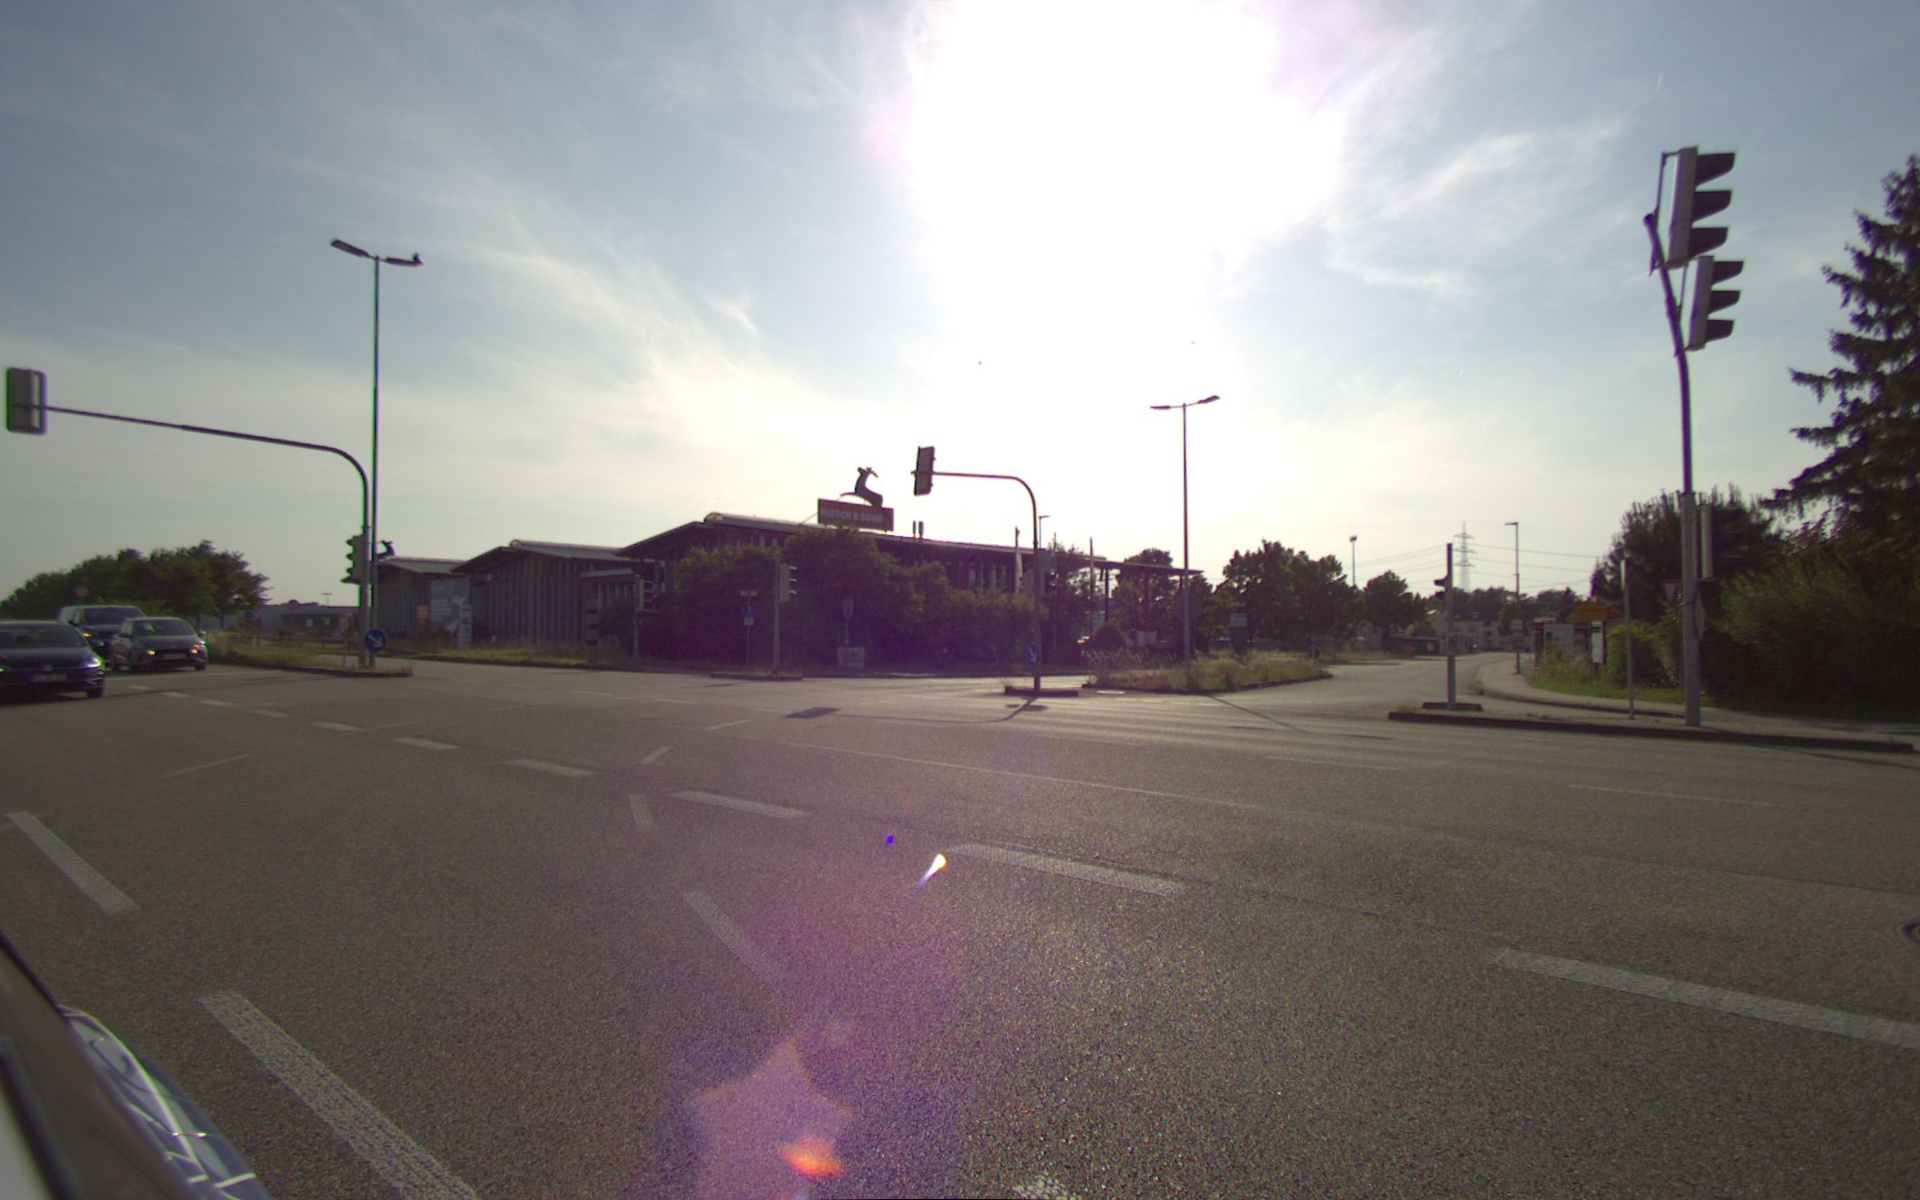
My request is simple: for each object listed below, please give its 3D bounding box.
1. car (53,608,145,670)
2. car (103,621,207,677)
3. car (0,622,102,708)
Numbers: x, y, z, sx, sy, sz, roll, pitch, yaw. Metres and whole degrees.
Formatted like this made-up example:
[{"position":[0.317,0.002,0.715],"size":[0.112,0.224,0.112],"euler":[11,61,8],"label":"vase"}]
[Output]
[{"position":[-27.505,1.221,32.298],"size":[4.223,1.848,1.629],"euler":[-2,-2,41],"label":"car"},{"position":[-22.555,1.335,28.328],"size":[3.563,1.448,1.689],"euler":[-2,-2,41],"label":"car"},{"position":[-17.991,1.176,19.418],"size":[4.774,1.482,1.629],"euler":[-2,-2,41],"label":"car"}]
